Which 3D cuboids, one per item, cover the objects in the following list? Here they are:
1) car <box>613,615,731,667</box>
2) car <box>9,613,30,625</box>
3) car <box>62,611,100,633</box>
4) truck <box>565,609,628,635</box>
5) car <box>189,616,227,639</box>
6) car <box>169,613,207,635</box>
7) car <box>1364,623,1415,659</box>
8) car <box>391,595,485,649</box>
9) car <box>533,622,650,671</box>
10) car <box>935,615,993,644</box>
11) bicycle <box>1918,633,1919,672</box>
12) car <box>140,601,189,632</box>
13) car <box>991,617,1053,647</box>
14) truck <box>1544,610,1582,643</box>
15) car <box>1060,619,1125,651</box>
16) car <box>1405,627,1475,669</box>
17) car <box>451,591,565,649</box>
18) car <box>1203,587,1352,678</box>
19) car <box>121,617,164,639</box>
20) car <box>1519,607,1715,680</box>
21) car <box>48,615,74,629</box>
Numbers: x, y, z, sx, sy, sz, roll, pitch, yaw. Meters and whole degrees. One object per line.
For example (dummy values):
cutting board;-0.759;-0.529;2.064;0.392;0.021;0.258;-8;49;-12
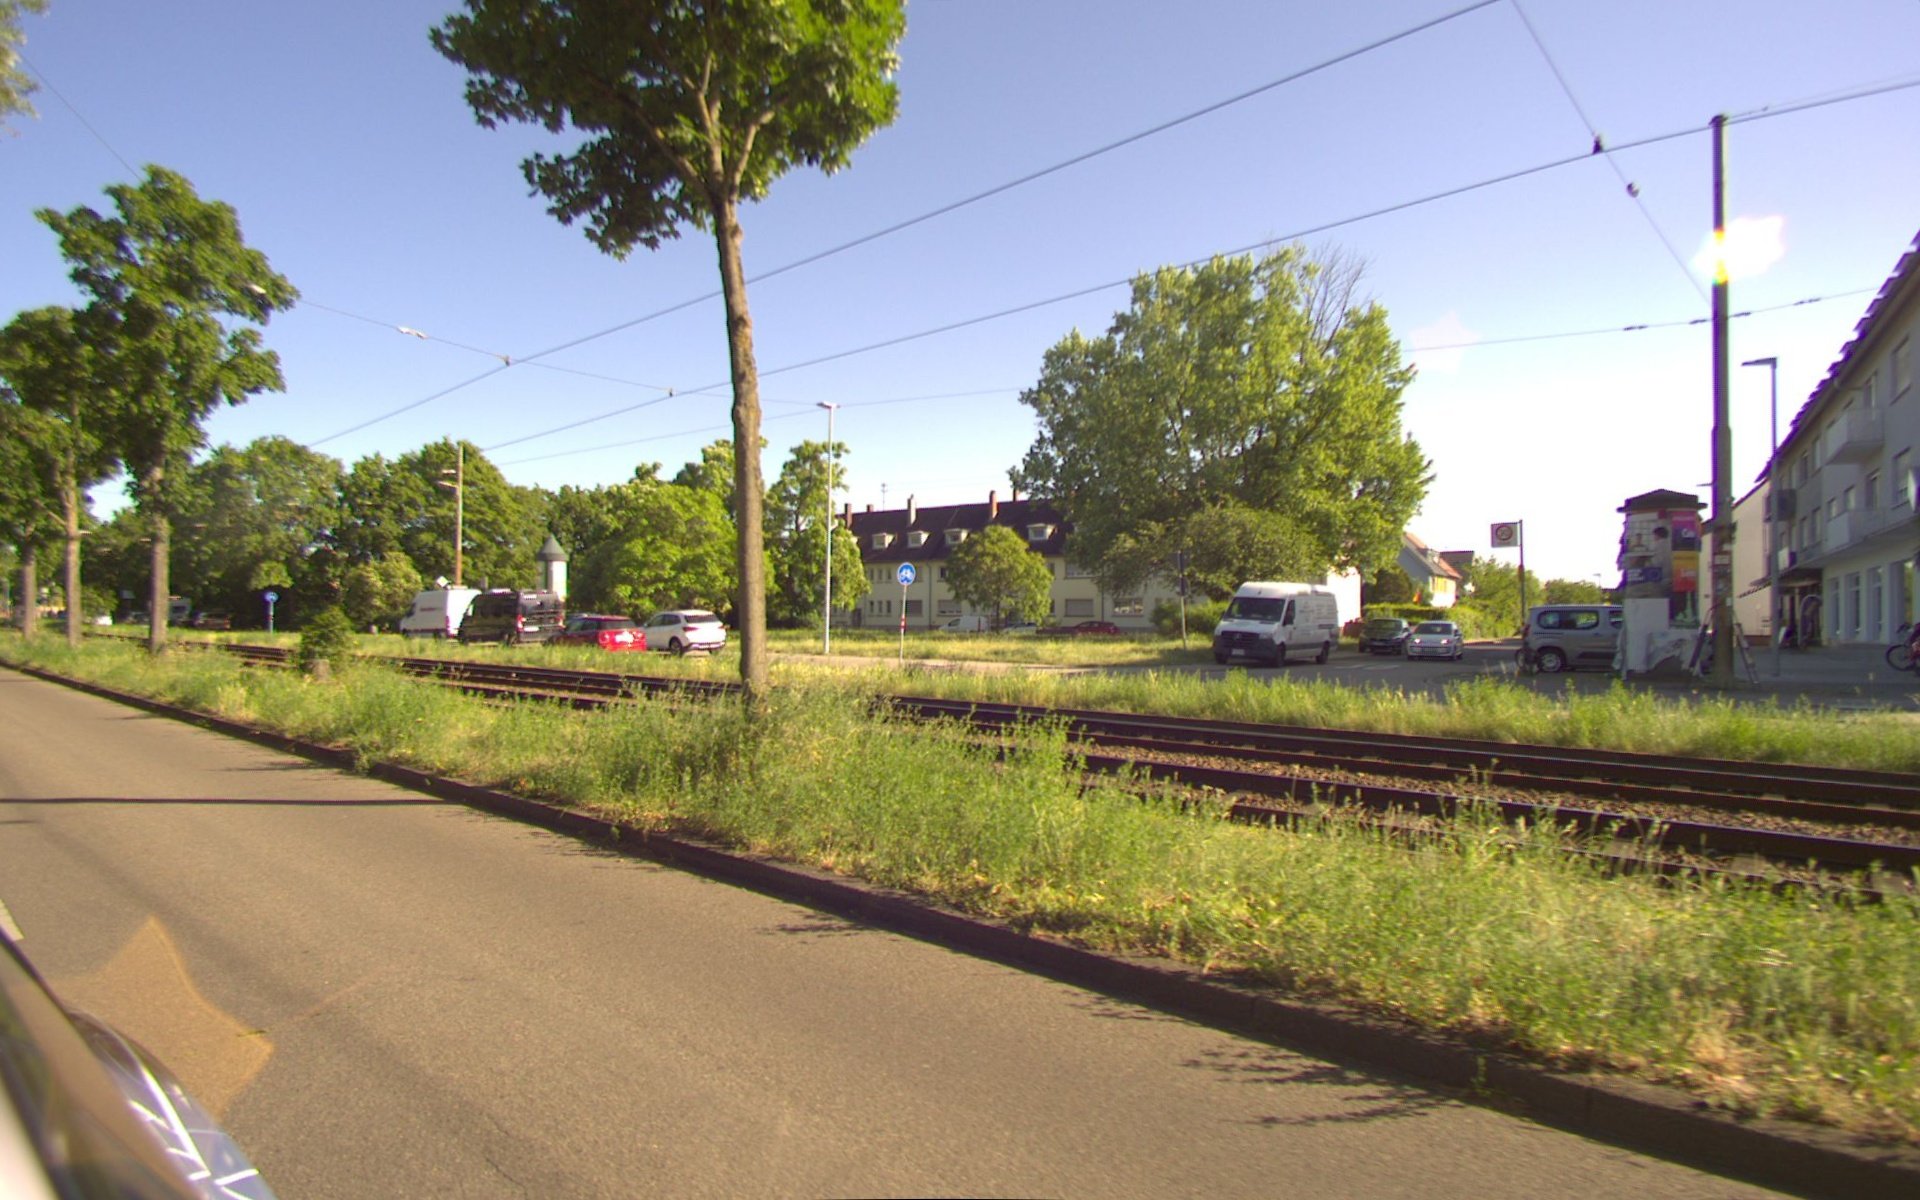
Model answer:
car;-10.434;1.423;36.491;4.772;1.619;1.804;0;1;42
car;-129.916;2.653;139.821;4.441;1.539;1.708;0;1;42
car;-74.897;1.857;86.248;4.980;1.757;1.792;0;1;41
truck;-28.975;1.758;80.861;2.069;1.883;4.907;0;1;21
car;-58.549;2.121;78.770;4.248;1.596;1.656;0;1;43
car;-63.714;1.940;83.513;4.531;1.635;1.605;0;1;41
car;18.913;1.770;44.489;1.510;1.366;3.246;0;1;33
car;-26.057;1.027;50.431;6.134;2.515;1.981;0;1;41
car;-11.333;1.379;31.010;3.998;1.420;1.659;-1;-2;41
car;0.294;2.175;75.810;3.988;2.029;1.978;0;1;33
bicycle;21.028;1.158;21.974;0.191;0.858;0.750;-1;-1;33
car;-69.497;1.410;88.370;6.796;2.600;2.202;-1;0;42
car;4.444;2.280;72.800;3.987;2.029;1.979;0;1;32
truck;42.448;1.851;71.231;1.996;2.105;4.080;0;1;35
car;9.064;2.338;69.414;3.987;2.029;1.978;0;1;33
car;18.115;1.772;38.137;1.747;1.489;3.581;-1;-1;37
car;-20.268;0.835;45.230;6.462;2.394;2.160;0;1;41
car;10.213;0.895;32.086;2.326;2.526;7.001;-1;0;37
car;-60.684;2.058;75.105;3.750;1.543;1.972;-1;-2;43
car;16.680;1.051;25.883;4.087;1.683;1.781;0;1;33
car;-95.068;2.304;107.031;3.818;1.405;1.541;0;1;41
